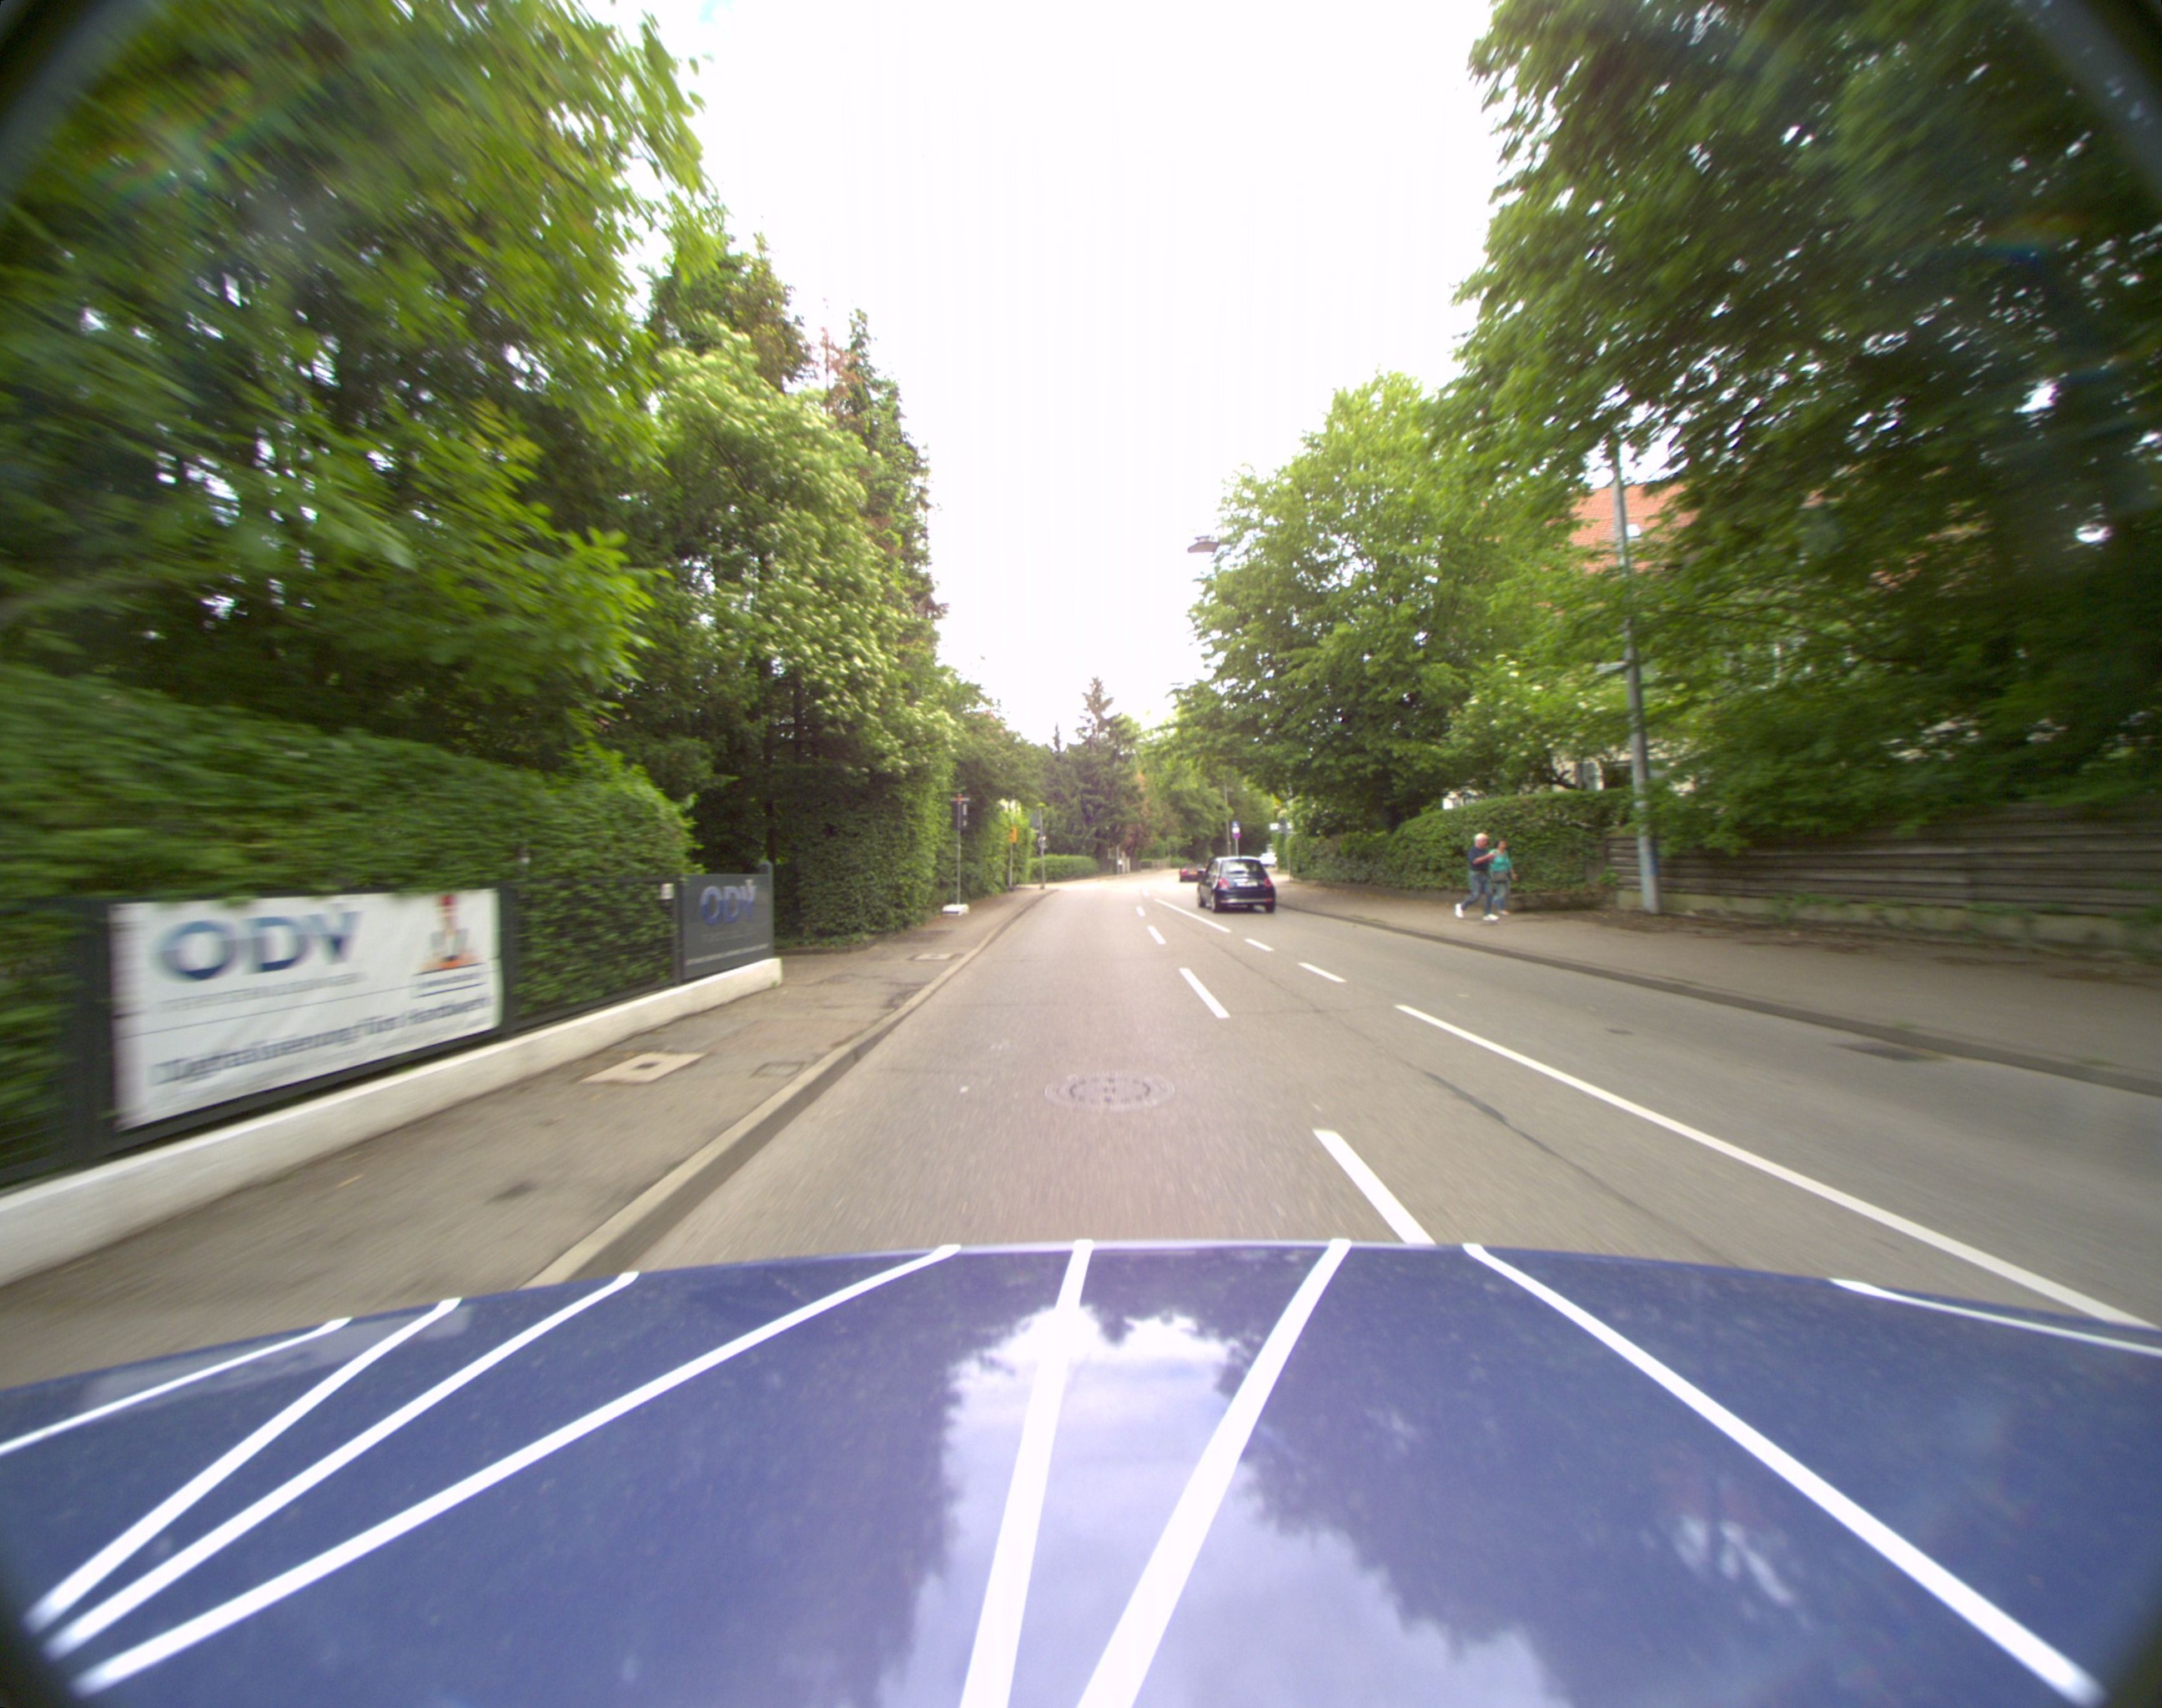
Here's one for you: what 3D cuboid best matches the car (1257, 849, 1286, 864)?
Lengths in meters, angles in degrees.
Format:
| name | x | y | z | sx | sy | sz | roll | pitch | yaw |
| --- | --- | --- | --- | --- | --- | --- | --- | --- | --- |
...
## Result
| name | x | y | z | sx | sy | sz | roll | pitch | yaw |
| --- | --- | --- | --- | --- | --- | --- | --- | --- | --- |
| car | 19.671 | 0.207 | 78.417 | 1.809 | 1.434 | 4.206 | -1 | 1 | 29 |

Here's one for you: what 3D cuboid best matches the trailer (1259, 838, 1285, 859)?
| name | x | y | z | sx | sy | sz | roll | pitch | yaw |
| --- | --- | --- | --- | --- | --- | --- | --- | --- | --- |
| trailer | 27.911 | -0.819 | 111.030 | 3.118 | 2.882 | 1.596 | -2 | 0 | 33 |

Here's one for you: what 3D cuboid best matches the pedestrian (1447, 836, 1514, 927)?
| name | x | y | z | sx | sy | sz | roll | pitch | yaw |
| --- | --- | --- | --- | --- | --- | --- | --- | --- | --- |
| pedestrian | 7.636 | 0.513 | 14.538 | 0.631 | 1.652 | 0.918 | -3 | 1 | -13 |

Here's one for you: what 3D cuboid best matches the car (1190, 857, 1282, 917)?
| name | x | y | z | sx | sy | sz | roll | pitch | yaw |
| --- | --- | --- | --- | --- | --- | --- | --- | --- | --- |
| car | 4.168 | 0.838 | 20.926 | 1.724 | 1.463 | 3.530 | -1 | 0 | -1 |

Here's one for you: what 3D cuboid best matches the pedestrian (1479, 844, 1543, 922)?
| name | x | y | z | sx | sy | sz | roll | pitch | yaw |
| --- | --- | --- | --- | --- | --- | --- | --- | --- | --- |
| pedestrian | 8.399 | 0.552 | 14.858 | 0.671 | 1.441 | 0.757 | -5 | 1 | -13 |

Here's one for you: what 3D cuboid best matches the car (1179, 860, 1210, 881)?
| name | x | y | z | sx | sy | sz | roll | pitch | yaw |
| --- | --- | --- | --- | --- | --- | --- | --- | --- | --- |
| car | 6.875 | 0.970 | 45.797 | 1.694 | 1.170 | 3.790 | -1 | 0 | 11 |
